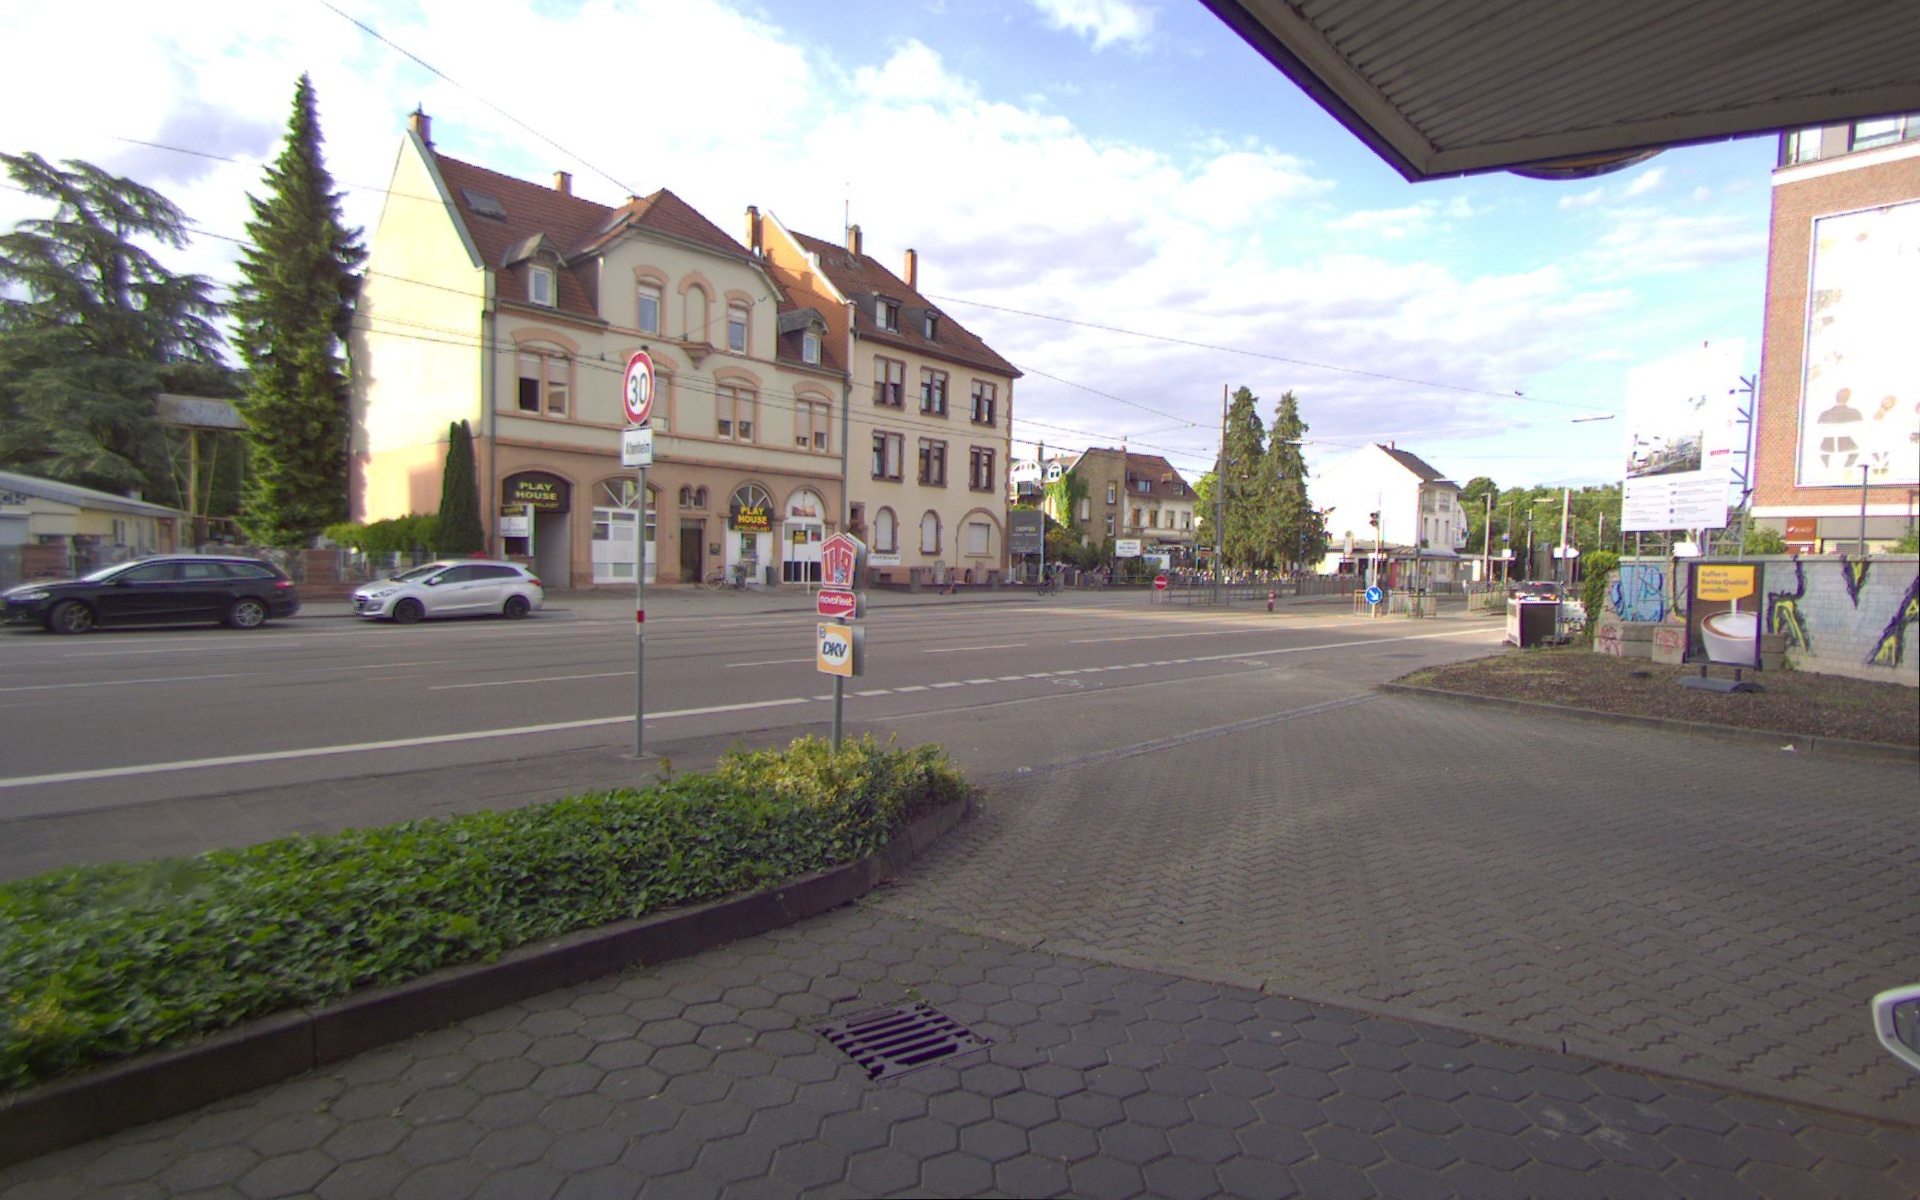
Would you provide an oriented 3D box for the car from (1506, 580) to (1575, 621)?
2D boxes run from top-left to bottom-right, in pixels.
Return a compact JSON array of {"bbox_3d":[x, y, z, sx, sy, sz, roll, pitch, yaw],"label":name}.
[{"bbox_3d":[24.466,-0.007,42.265,1.649,1.568,3.687,5,4,43],"label":"car"}]

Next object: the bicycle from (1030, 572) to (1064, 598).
[{"bbox_3d":[4.312,-0.743,49.597,0.740,1.219,1.813,7,6,38],"label":"bicycle"}]

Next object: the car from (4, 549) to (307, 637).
[{"bbox_3d":[-16.491,-0.169,20.810,1.827,1.542,4.642,5,4,40],"label":"car"}]

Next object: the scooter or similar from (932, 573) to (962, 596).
[{"bbox_3d":[-0.572,-0.704,45.086,0.437,1.006,1.460,6,5,41],"label":"scooter or similar"}]

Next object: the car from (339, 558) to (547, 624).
[{"bbox_3d":[-12.933,-0.244,25.348,1.718,1.502,4.357,3,2,41],"label":"car"}]

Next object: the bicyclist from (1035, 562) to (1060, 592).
[{"bbox_3d":[4.320,-1.137,49.561,0.740,1.428,0.917,7,6,38],"label":"bicyclist"}]

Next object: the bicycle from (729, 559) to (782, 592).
[{"bbox_3d":[-8.253,-0.992,40.620,0.741,1.219,2.011,8,5,41],"label":"bicycle"}]
